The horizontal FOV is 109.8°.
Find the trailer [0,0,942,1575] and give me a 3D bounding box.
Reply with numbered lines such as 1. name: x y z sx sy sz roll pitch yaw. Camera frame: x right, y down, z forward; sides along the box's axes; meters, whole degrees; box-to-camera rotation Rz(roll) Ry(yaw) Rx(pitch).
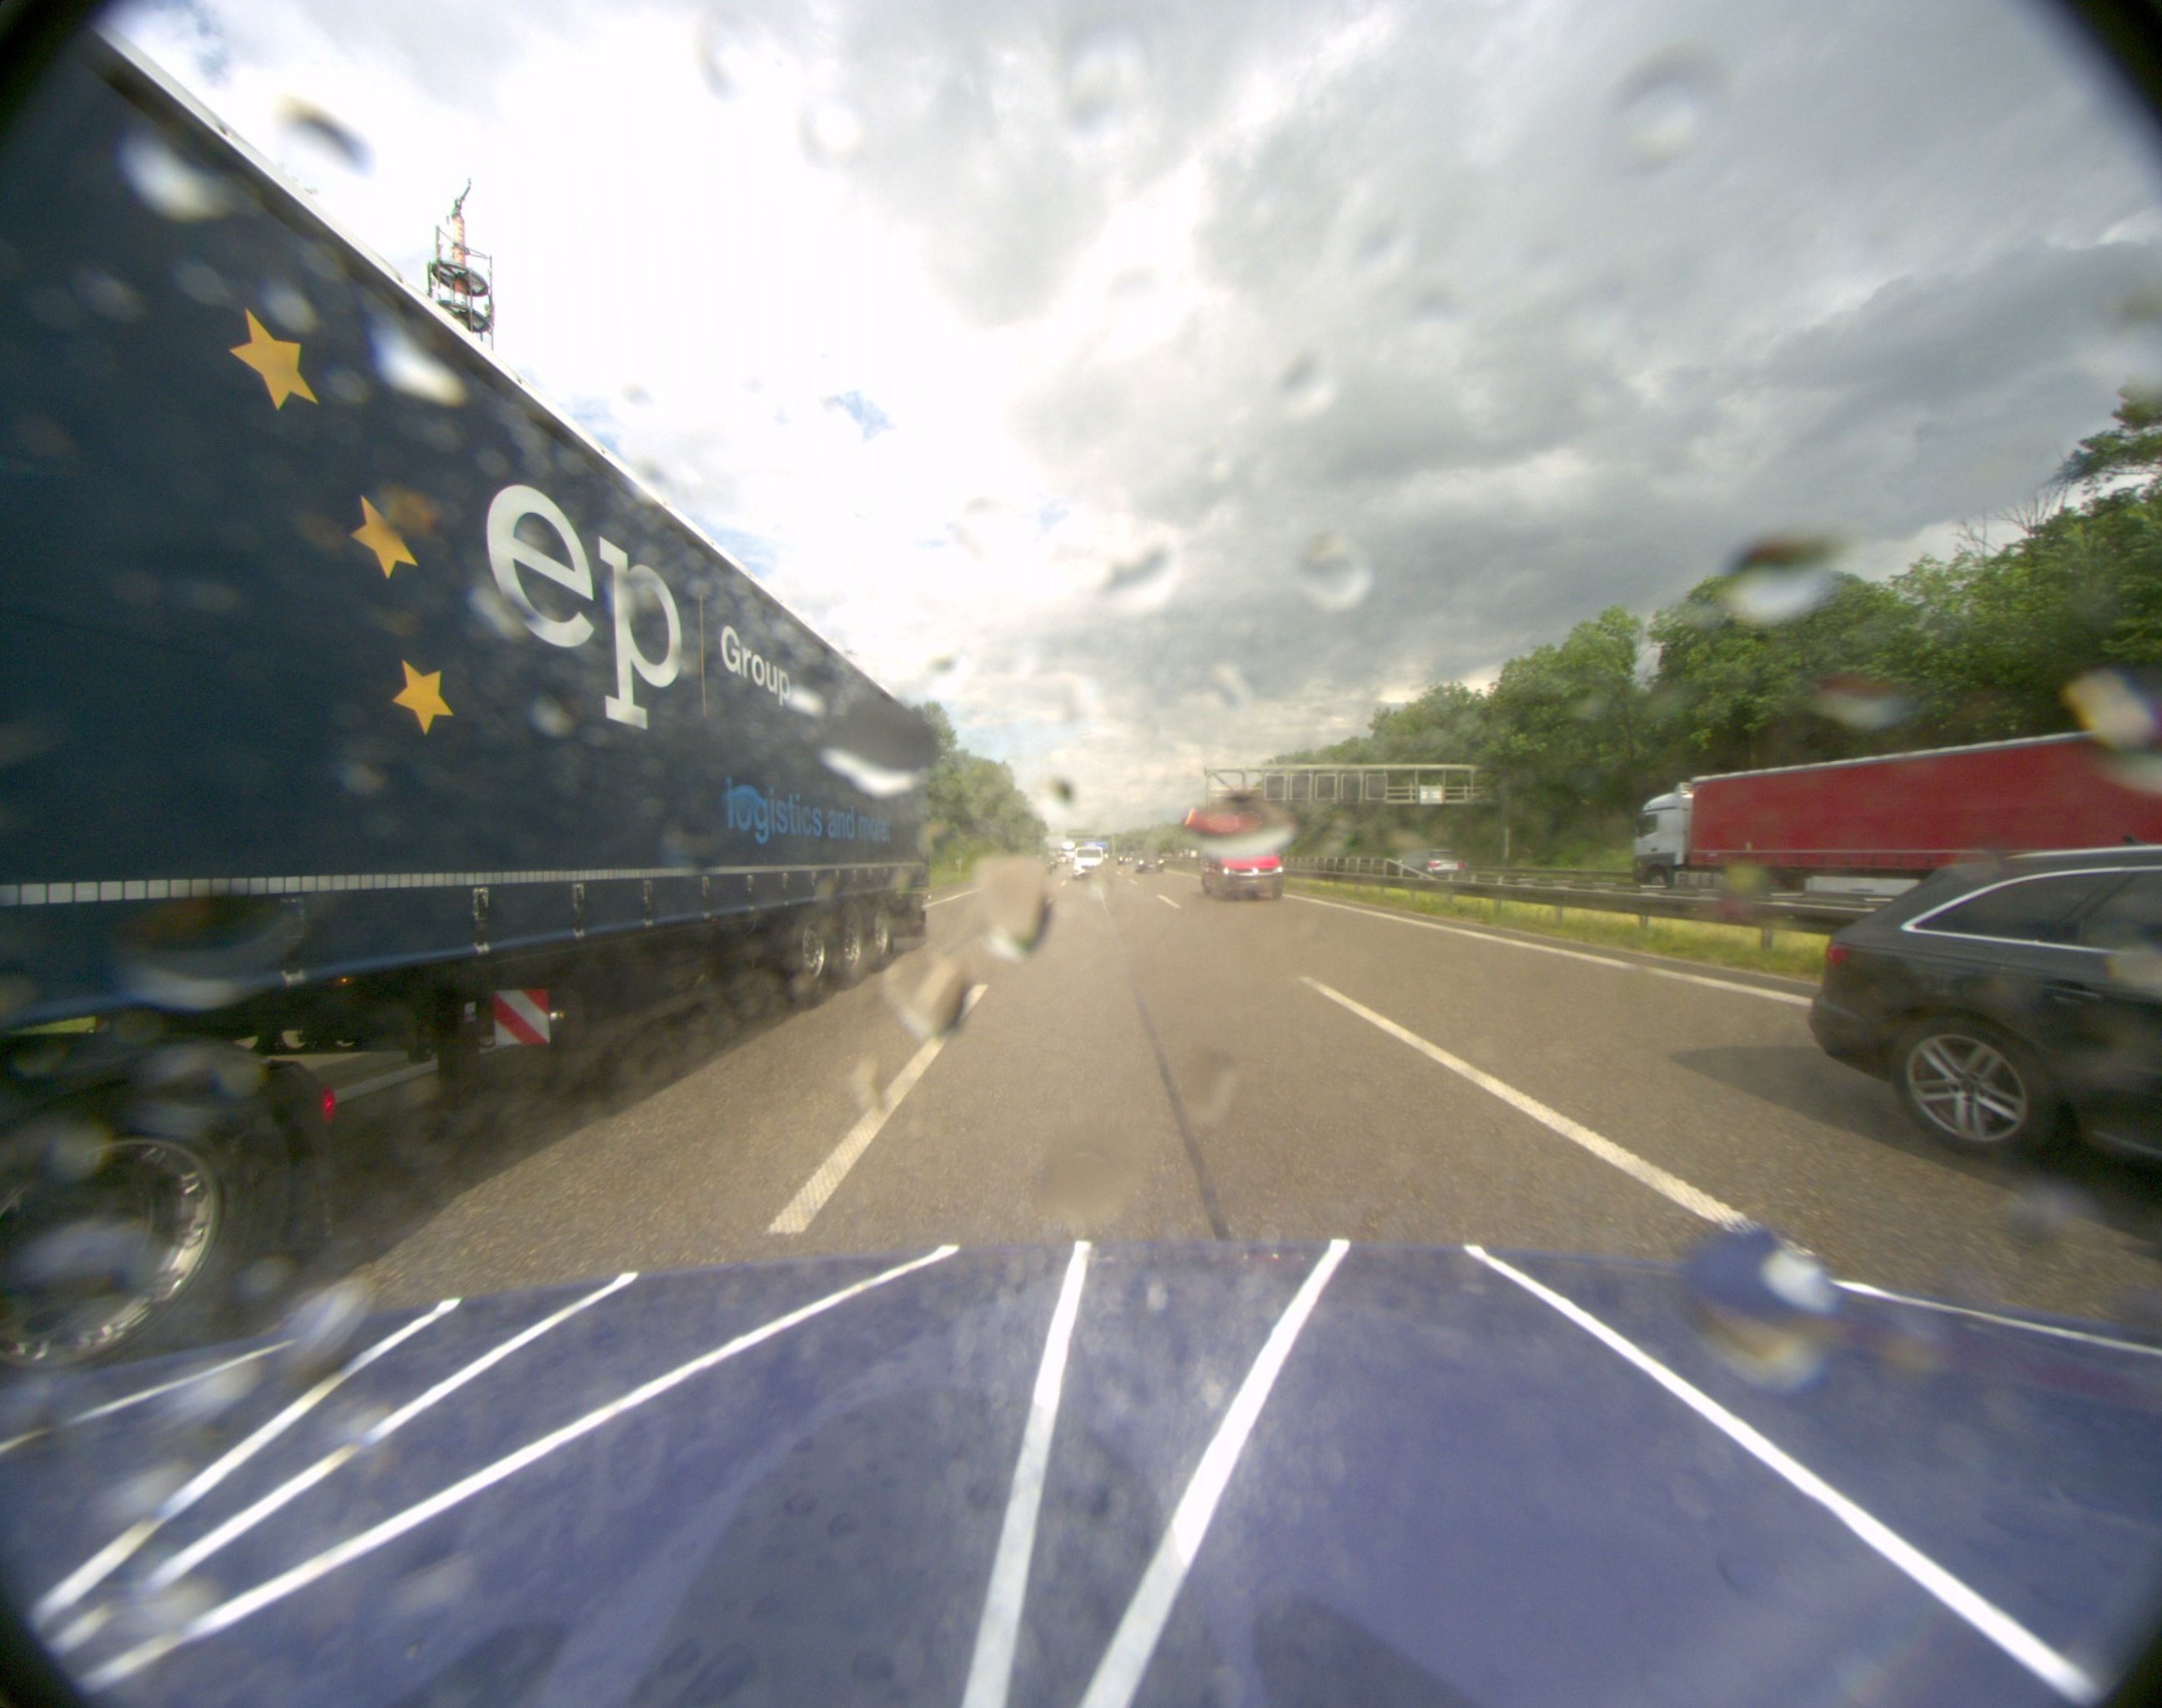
1. trailer: -3.944 -0.249 6.444 2.641 3.972 14.063 -2 1 1

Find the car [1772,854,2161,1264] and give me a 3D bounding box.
1. car: 4.801 0.769 1.902 1.798 1.410 4.838 -2 1 1

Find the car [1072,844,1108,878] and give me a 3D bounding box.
1. car: 0.601 0.385 48.309 2.124 1.988 5.982 -2 1 1

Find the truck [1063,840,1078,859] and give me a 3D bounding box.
1. truck: -2.217 -0.973 160.450 3.064 3.827 8.799 0 0 0

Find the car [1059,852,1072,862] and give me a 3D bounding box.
1. car: -2.460 0.455 121.907 1.798 1.410 4.838 -2 1 1

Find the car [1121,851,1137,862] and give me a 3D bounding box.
1. car: 6.307 0.311 100.482 1.798 1.410 4.838 -2 1 1

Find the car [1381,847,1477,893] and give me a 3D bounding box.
1. car: 14.089 0.590 31.059 1.842 1.653 4.440 -2 1 0

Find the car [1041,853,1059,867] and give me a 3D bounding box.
1. car: -3.546 0.649 87.734 1.798 1.410 4.838 -2 1 1

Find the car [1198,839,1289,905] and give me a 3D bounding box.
1. car: 5.055 0.491 24.337 1.926 1.855 4.838 -2 1 1

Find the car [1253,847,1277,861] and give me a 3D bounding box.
1. car: 22.668 -0.026 93.765 1.833 1.653 4.630 -2 1 0

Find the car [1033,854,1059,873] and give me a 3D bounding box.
1. car: -2.919 0.747 64.281 1.798 1.410 4.838 -2 1 1

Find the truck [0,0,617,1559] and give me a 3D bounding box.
1. truck: -4.017 -0.210 0.570 2.613 3.973 7.289 -2 1 1

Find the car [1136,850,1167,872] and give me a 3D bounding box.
1. car: 5.365 0.484 58.427 2.009 1.488 4.838 -2 1 1

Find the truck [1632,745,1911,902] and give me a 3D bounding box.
1. truck: 21.994 -0.897 24.888 2.870 4.347 6.867 -2 1 0

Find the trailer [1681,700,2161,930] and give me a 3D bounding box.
1. trailer: 21.927 -0.830 18.881 2.870 4.347 14.090 -2 1 0
